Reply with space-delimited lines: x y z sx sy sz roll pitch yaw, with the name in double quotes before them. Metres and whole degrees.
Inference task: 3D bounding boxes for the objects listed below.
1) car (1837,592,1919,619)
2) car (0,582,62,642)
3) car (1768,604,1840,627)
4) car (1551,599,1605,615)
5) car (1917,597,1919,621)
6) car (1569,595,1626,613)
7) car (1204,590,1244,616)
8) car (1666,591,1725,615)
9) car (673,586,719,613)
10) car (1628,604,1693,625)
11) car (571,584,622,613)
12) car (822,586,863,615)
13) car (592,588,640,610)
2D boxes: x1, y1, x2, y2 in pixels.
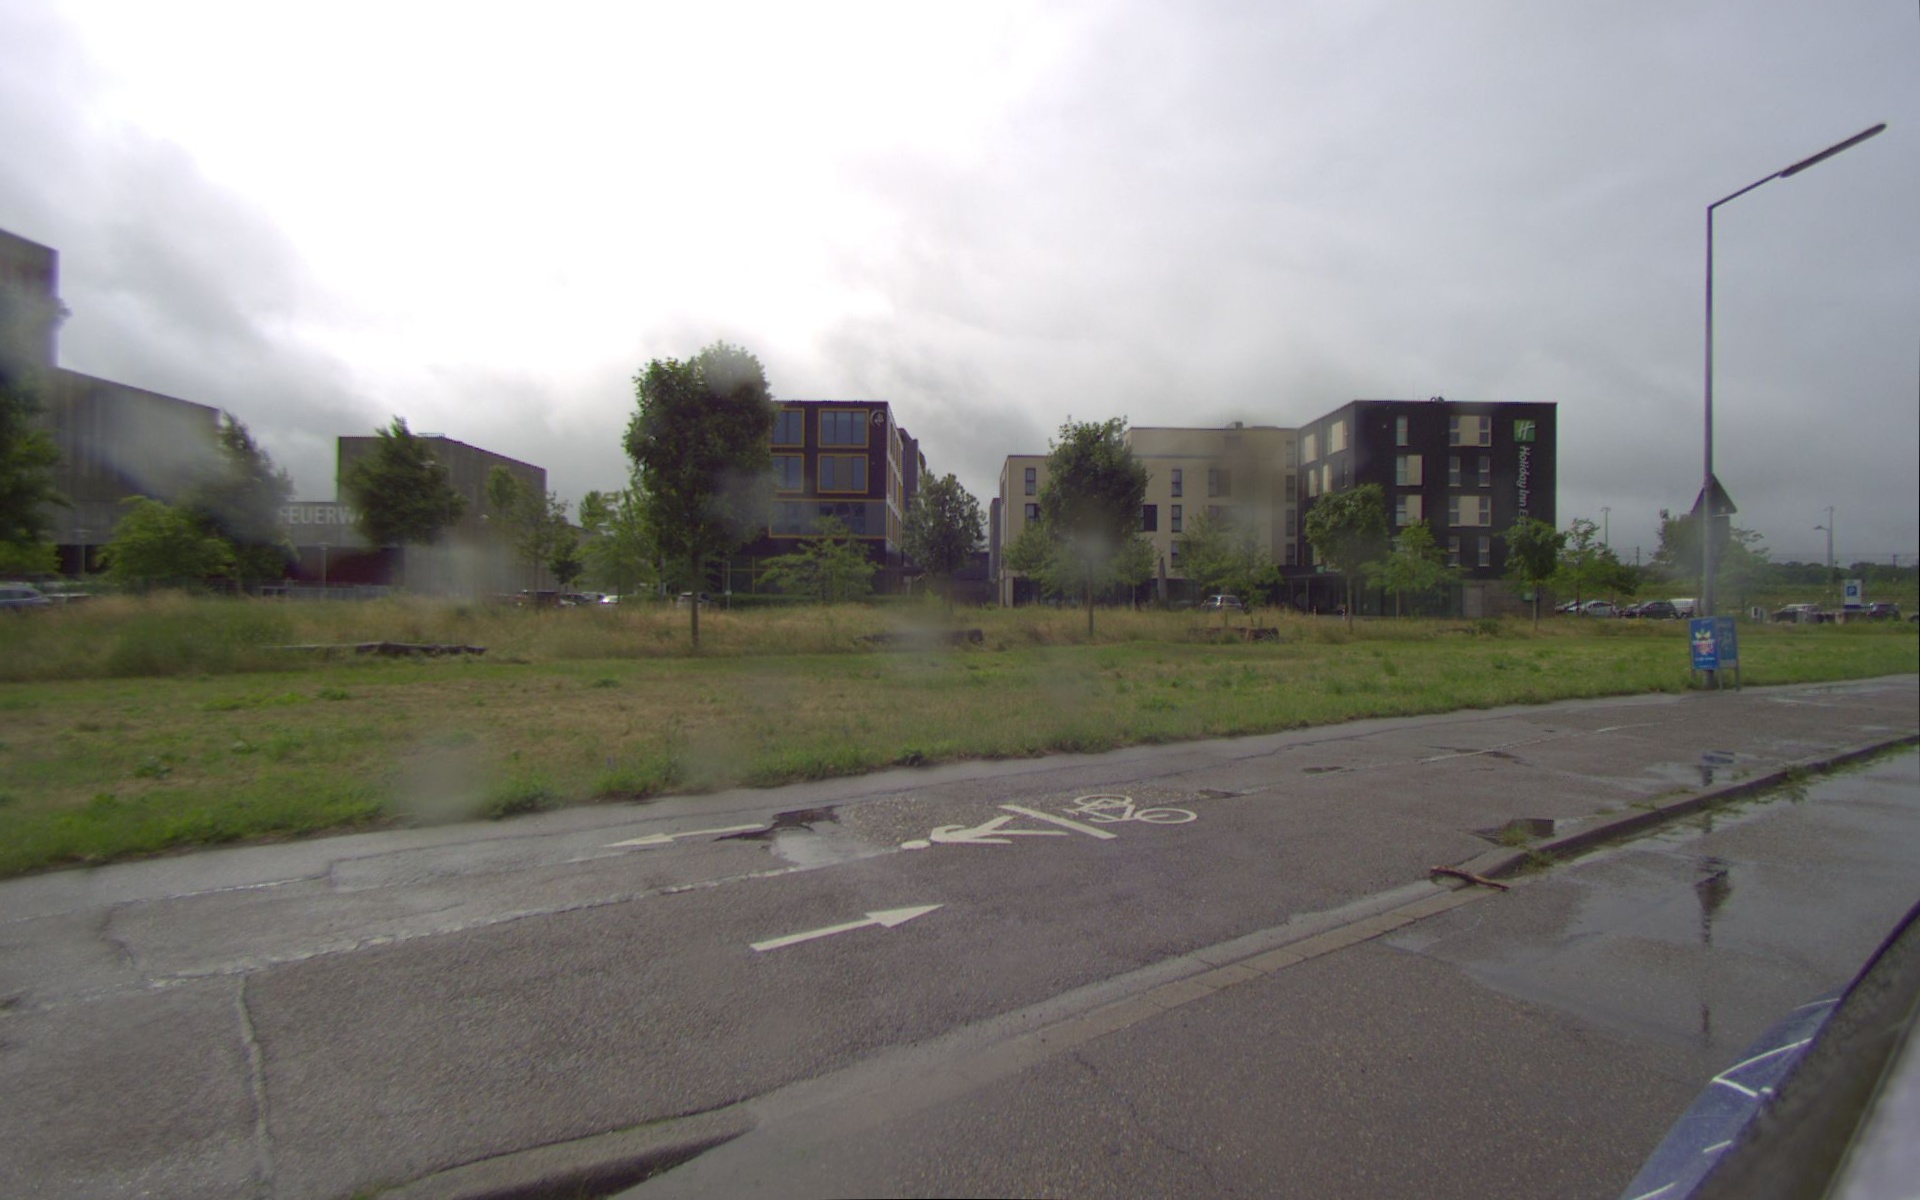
"car" 65.136 0.404 71.911 1.960 1.751 4.001 1 -3 -4
"car" -33.853 0.414 35.078 1.967 2.039 3.699 0 0 10
"car" 64.729 1.212 77.699 1.960 1.663 4.001 1 -3 -4
"car" 54.580 0.631 89.367 3.709 1.414 1.643 -1 -2 0
"car" 65.401 0.578 65.963 1.960 1.638 4.003 -2 0 -4
"car" 54.716 0.344 86.933 3.734 1.414 1.768 1 -3 -1
"car" 17.186 0.159 66.056 1.636 1.577 4.216 0 1 3
"car" 64.899 0.272 89.412 1.962 1.796 4.333 1 -5 0
"car" -17.202 -0.049 66.149 1.737 1.742 3.996 0 0 3
"car" 54.872 1.175 79.328 3.768 1.548 1.785 1 -3 -1
"car" -23.324 -0.119 65.014 1.774 1.794 3.999 1 1 1
"car" -7.639 0.010 66.278 1.963 1.784 4.554 0 0 3
"car" -26.859 -0.101 79.144 1.963 1.612 4.785 1 1 3
